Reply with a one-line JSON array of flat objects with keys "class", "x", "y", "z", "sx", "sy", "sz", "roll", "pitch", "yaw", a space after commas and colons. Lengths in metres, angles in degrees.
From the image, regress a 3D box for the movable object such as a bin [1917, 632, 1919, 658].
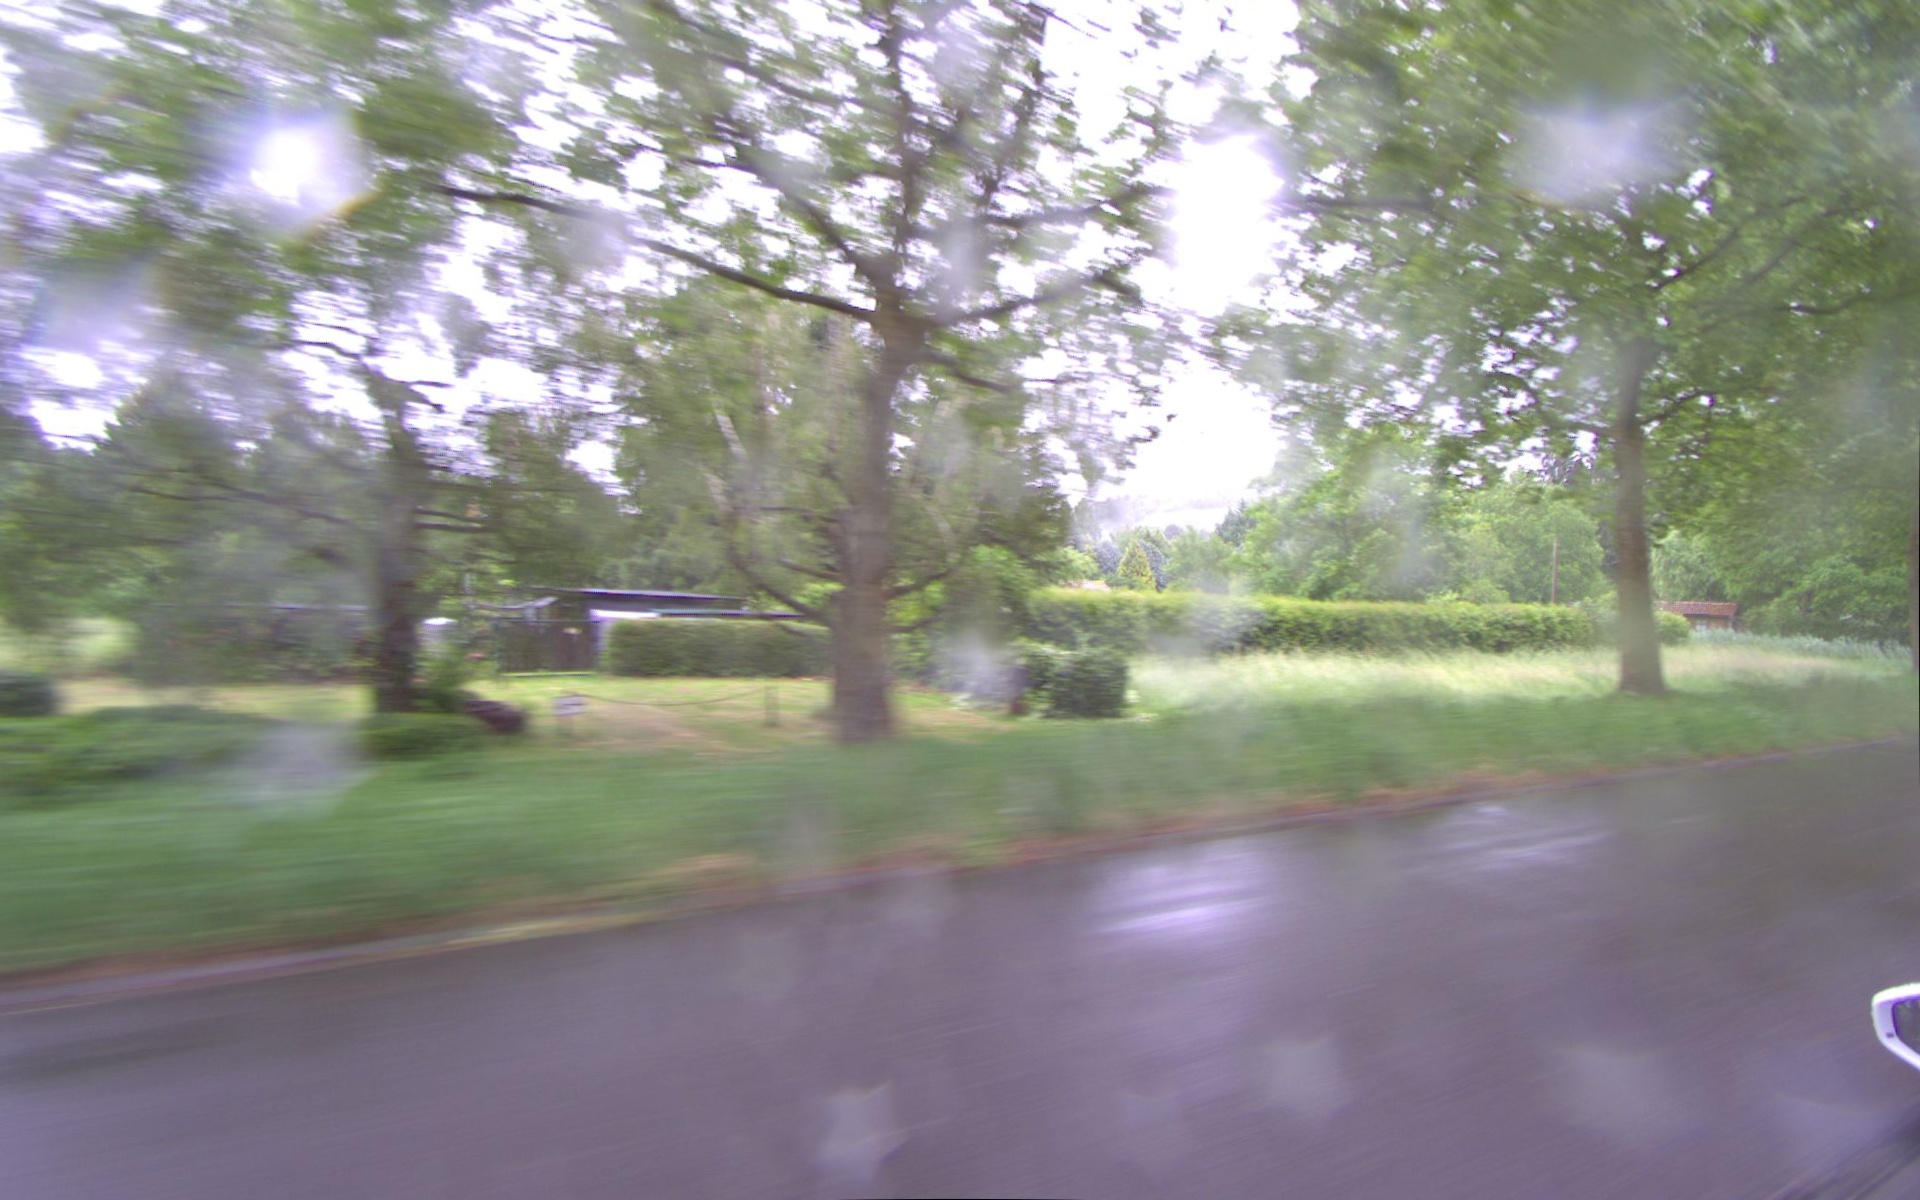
[{"class": "movable object such as a bin", "x": 52.792, "y": 2.466, "z": 54.558, "sx": 0.956, "sy": 1.441, "sz": 0.956, "roll": 1, "pitch": 1, "yaw": -35}]
